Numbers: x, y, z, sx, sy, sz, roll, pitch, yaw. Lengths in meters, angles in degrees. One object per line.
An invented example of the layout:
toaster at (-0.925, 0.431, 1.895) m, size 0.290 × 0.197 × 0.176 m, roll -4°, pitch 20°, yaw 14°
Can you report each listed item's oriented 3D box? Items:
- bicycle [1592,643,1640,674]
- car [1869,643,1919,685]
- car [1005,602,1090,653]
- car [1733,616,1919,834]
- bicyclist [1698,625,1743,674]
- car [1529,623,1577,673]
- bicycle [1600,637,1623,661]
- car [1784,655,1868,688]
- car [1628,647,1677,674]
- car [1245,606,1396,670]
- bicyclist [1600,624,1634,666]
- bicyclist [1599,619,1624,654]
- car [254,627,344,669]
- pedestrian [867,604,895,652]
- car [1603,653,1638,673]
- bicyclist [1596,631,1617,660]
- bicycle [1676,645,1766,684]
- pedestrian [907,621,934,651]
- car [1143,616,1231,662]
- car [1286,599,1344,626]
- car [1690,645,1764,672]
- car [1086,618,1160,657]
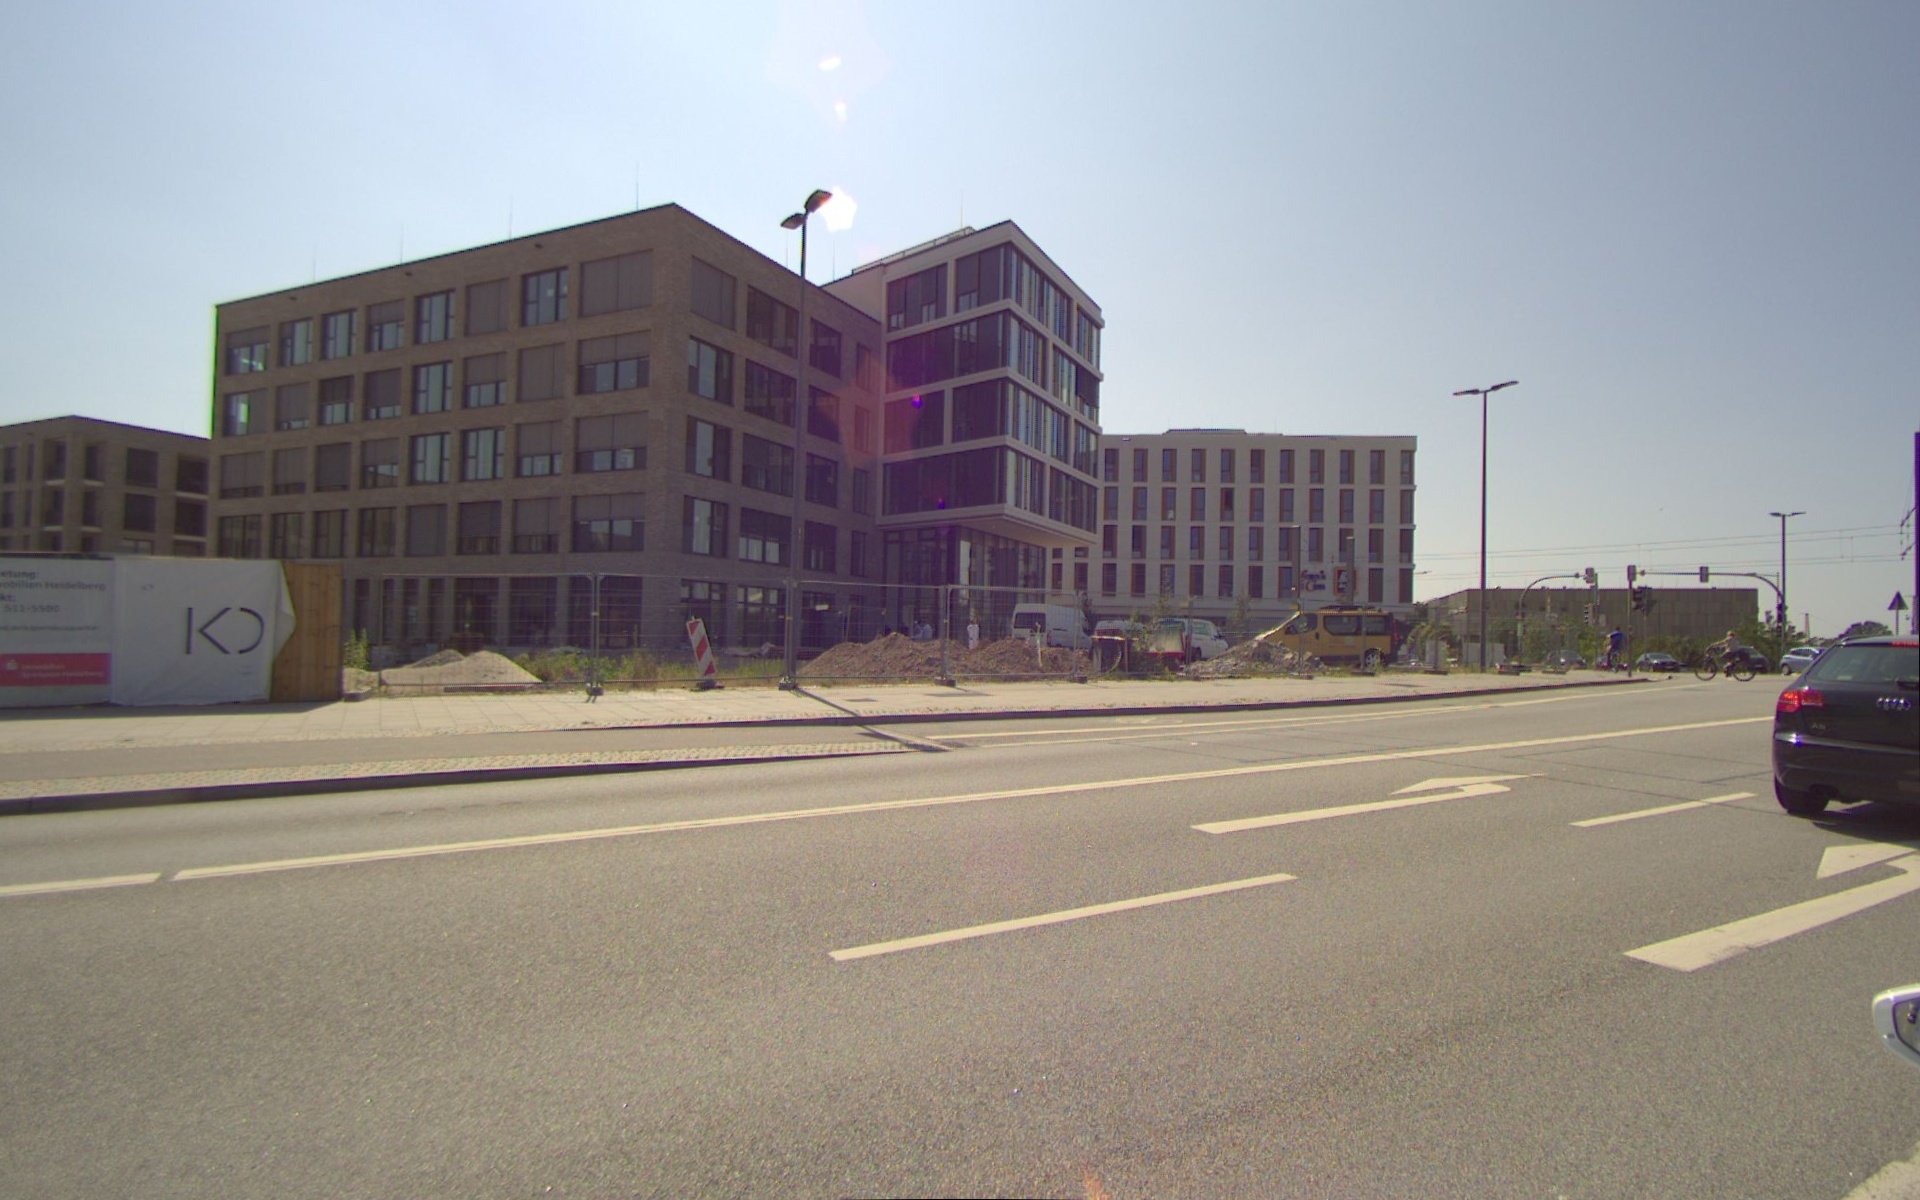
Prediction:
bicycle at (25.525, 2.273, 39.126) m, size 0.714 × 1.148 × 2.534 m, roll -4°, pitch -4°, yaw 14°
car at (49.021, 3.275, 50.933) m, size 1.964 × 2.040 × 3.993 m, roll 2°, pitch -1°, yaw -10°
car at (3.939, 1.222, 44.683) m, size 2.175 × 2.083 × 4.164 m, roll 2°, pitch 0°, yaw 30°
car at (8.035, 0.922, 7.911) m, size 3.953 × 1.431 × 1.697 m, roll 2°, pitch 0°, yaw -30°
bicyclist at (25.933, 1.678, 34.247) m, size 0.813 × 1.589 × 0.940 m, roll 2°, pitch 0°, yaw -30°
car at (26.371, 2.088, 44.746) m, size 1.645 × 2.040 × 3.994 m, roll 2°, pitch 0°, yaw 29°
bicycle at (29.515, 2.207, 45.495) m, size 0.596 × 1.020 × 2.501 m, roll 1°, pitch -1°, yaw 39°
car at (44.821, 3.662, 52.077) m, size 1.555 × 1.458 × 3.154 m, roll 2°, pitch 0°, yaw -1°
car at (52.745, 4.607, 76.552) m, size 1.683 × 1.764 × 4.214 m, roll 2°, pitch 0°, yaw 15°
car at (12.031, 1.247, 33.781) m, size 4.395 × 1.915 × 2.001 m, roll 2°, pitch 0°, yaw 8°
bicyclist at (25.517, 1.735, 39.016) m, size 0.846 × 1.580 × 0.825 m, roll 2°, pitch 0°, yaw 13°
bicyclist at (29.470, 1.651, 45.451) m, size 0.831 × 1.522 × 0.656 m, roll 2°, pitch 0°, yaw 41°
car at (-30.426, 2.173, 46.232) m, size 3.708 × 1.675 × 1.834 m, roll 2°, pitch 0°, yaw 26°
pedestrian at (-3.408, 1.206, 43.368) m, size 0.949 × 2.040 × 0.940 m, roll 2°, pitch 0°, yaw -17°
car at (56.910, 5.376, 86.592) m, size 1.651 × 1.475 × 3.999 m, roll 2°, pitch 0°, yaw 21°
bicyclist at (27.506, 1.917, 42.737) m, size 0.718 × 1.191 × 0.657 m, roll 2°, pitch 0°, yaw 31°
bicycle at (25.917, 2.182, 34.253) m, size 0.670 × 1.142 × 2.345 m, roll 2°, pitch 0°, yaw -31°
pedestrian at (-1.951, 1.766, 49.449) m, size 1.099 × 1.391 × 0.742 m, roll 2°, pitch 0°, yaw -17°
car at (9.571, 1.617, 42.167) m, size 1.969 × 1.730 × 4.546 m, roll 2°, pitch 0°, yaw 35°
car at (28.885, 0.988, 81.880) m, size 1.986 × 2.040 × 3.949 m, roll 2°, pitch 0°, yaw -43°
car at (49.090, 3.718, 64.389) m, size 1.959 × 1.475 × 4.489 m, roll 2°, pitch 0°, yaw 11°
car at (7.150, 1.602, 43.735) m, size 1.773 × 1.528 × 3.991 m, roll 2°, pitch 0°, yaw 31°
